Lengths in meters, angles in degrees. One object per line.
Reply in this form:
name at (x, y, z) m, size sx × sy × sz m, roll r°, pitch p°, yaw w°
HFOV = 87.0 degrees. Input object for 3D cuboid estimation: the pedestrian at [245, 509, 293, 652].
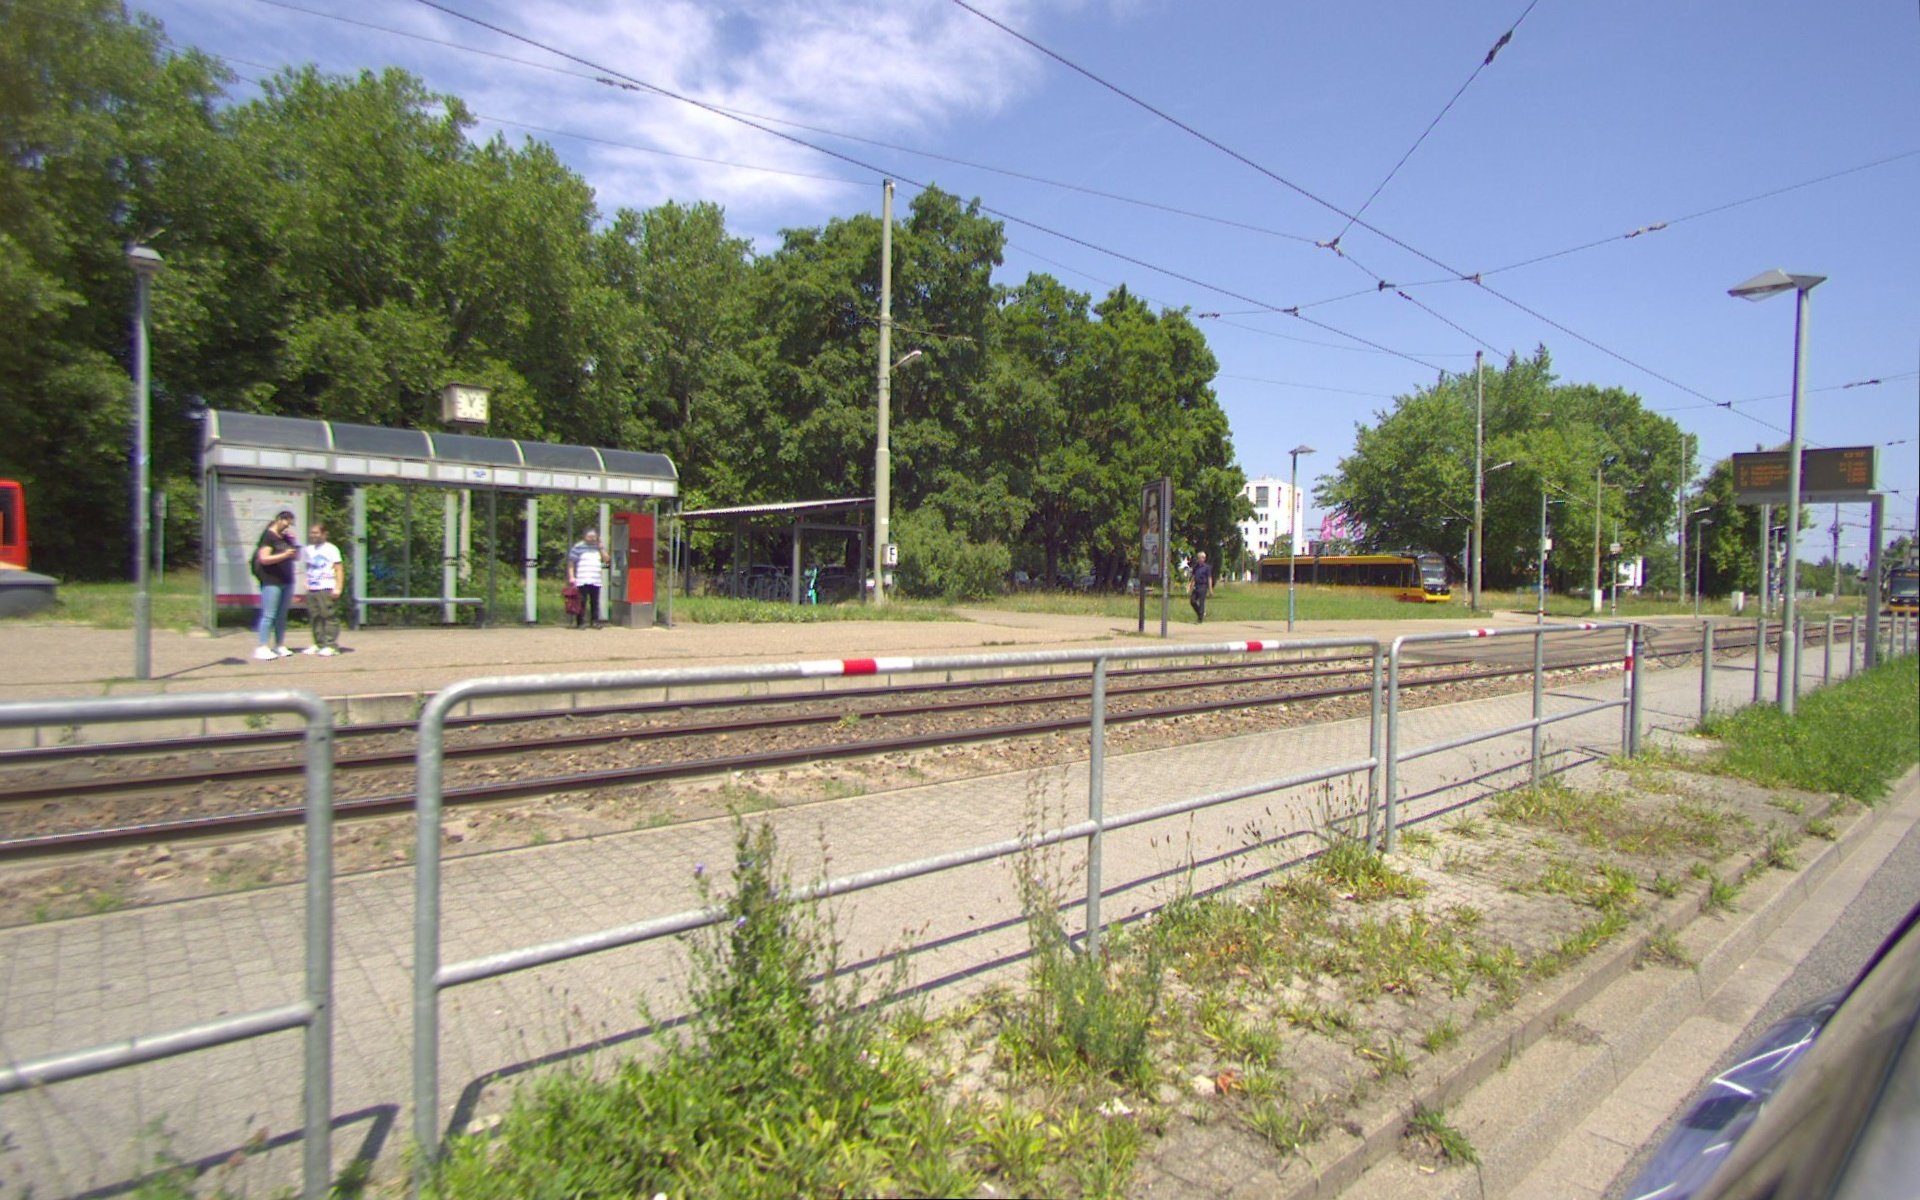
pedestrian at (-8.213, -0.231, 12.034) m, size 0.437 × 1.667 × 0.361 m, roll -1°, pitch 1°, yaw -37°

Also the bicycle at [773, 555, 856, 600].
bicycle at (-3.824, -0.586, 26.775) m, size 2.151 × 1.101 × 0.599 m, roll 2°, pitch 0°, yaw -40°

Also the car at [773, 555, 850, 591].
car at (-7.630, -1.390, 52.349) m, size 1.983 × 1.793 × 3.959 m, roll 2°, pitch 2°, yaw 29°

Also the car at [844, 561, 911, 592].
car at (-4.707, -1.371, 58.060) m, size 1.839 × 1.682 × 3.956 m, roll 2°, pitch 2°, yaw 31°

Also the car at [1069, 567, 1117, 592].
car at (8.829, -1.383, 66.955) m, size 1.689 × 1.558 × 4.571 m, roll 2°, pitch 2°, yaw 27°

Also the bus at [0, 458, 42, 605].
bus at (-26.552, -1.496, 19.926) m, size 2.745 × 3.481 × 12.315 m, roll 0°, pitch 1°, yaw 30°

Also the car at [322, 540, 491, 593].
car at (-18.422, -1.103, 33.915) m, size 1.982 × 1.649 × 4.679 m, roll 2°, pitch 2°, yaw 29°

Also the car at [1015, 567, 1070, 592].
car at (5.016, -1.244, 61.222) m, size 1.940 × 1.440 × 3.908 m, roll 2°, pitch 2°, yaw 27°

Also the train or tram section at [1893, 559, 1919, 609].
train or tram section at (67.830, -1.121, 71.010) m, size 7.131 × 3.363 × 2.524 m, roll -1°, pitch 3°, yaw -40°

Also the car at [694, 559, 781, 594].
car at (-10.452, -1.125, 47.794) m, size 1.873 × 1.529 × 3.958 m, roll 2°, pitch 2°, yaw 30°

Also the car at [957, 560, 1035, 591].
car at (2.048, -1.347, 56.348) m, size 2.109 × 1.631 × 4.999 m, roll 2°, pitch 2°, yaw 32°

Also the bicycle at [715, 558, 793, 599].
bicycle at (-6.004, -0.613, 29.564) m, size 2.151 × 1.101 × 0.599 m, roll 2°, pitch 0°, yaw -40°

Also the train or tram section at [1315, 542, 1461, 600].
train or tram section at (29.696, -1.984, 71.327) m, size 2.659 × 3.694 × 13.210 m, roll -1°, pitch 1°, yaw -10°

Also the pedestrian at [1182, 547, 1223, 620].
pedestrian at (6.055, -0.422, 25.318) m, size 0.645 × 1.786 × 0.708 m, roll 0°, pitch 2°, yaw -38°

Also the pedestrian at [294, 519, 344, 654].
pedestrian at (-7.863, -0.165, 12.409) m, size 0.474 × 1.616 × 0.361 m, roll -1°, pitch 1°, yaw -37°

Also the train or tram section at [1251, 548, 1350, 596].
train or tram section at (27.992, -2.288, 84.192) m, size 2.661 × 3.694 × 13.266 m, roll -1°, pitch 1°, yaw -5°

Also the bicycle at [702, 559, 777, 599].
bicycle at (-6.635, -0.626, 30.562) m, size 2.151 × 1.101 × 0.599 m, roll 2°, pitch 0°, yaw -40°

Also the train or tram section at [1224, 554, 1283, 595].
train or tram section at (27.954, -2.494, 96.945) m, size 2.667 × 3.618 × 13.240 m, roll 1°, pitch 2°, yaw 4°

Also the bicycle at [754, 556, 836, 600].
bicycle at (-4.488, -0.596, 27.596) m, size 2.151 × 1.101 × 0.599 m, roll 2°, pitch 0°, yaw -40°

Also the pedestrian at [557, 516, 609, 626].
pedestrian at (-6.325, -0.481, 16.974) m, size 0.726 × 1.796 × 0.382 m, roll -1°, pitch 1°, yaw -37°
